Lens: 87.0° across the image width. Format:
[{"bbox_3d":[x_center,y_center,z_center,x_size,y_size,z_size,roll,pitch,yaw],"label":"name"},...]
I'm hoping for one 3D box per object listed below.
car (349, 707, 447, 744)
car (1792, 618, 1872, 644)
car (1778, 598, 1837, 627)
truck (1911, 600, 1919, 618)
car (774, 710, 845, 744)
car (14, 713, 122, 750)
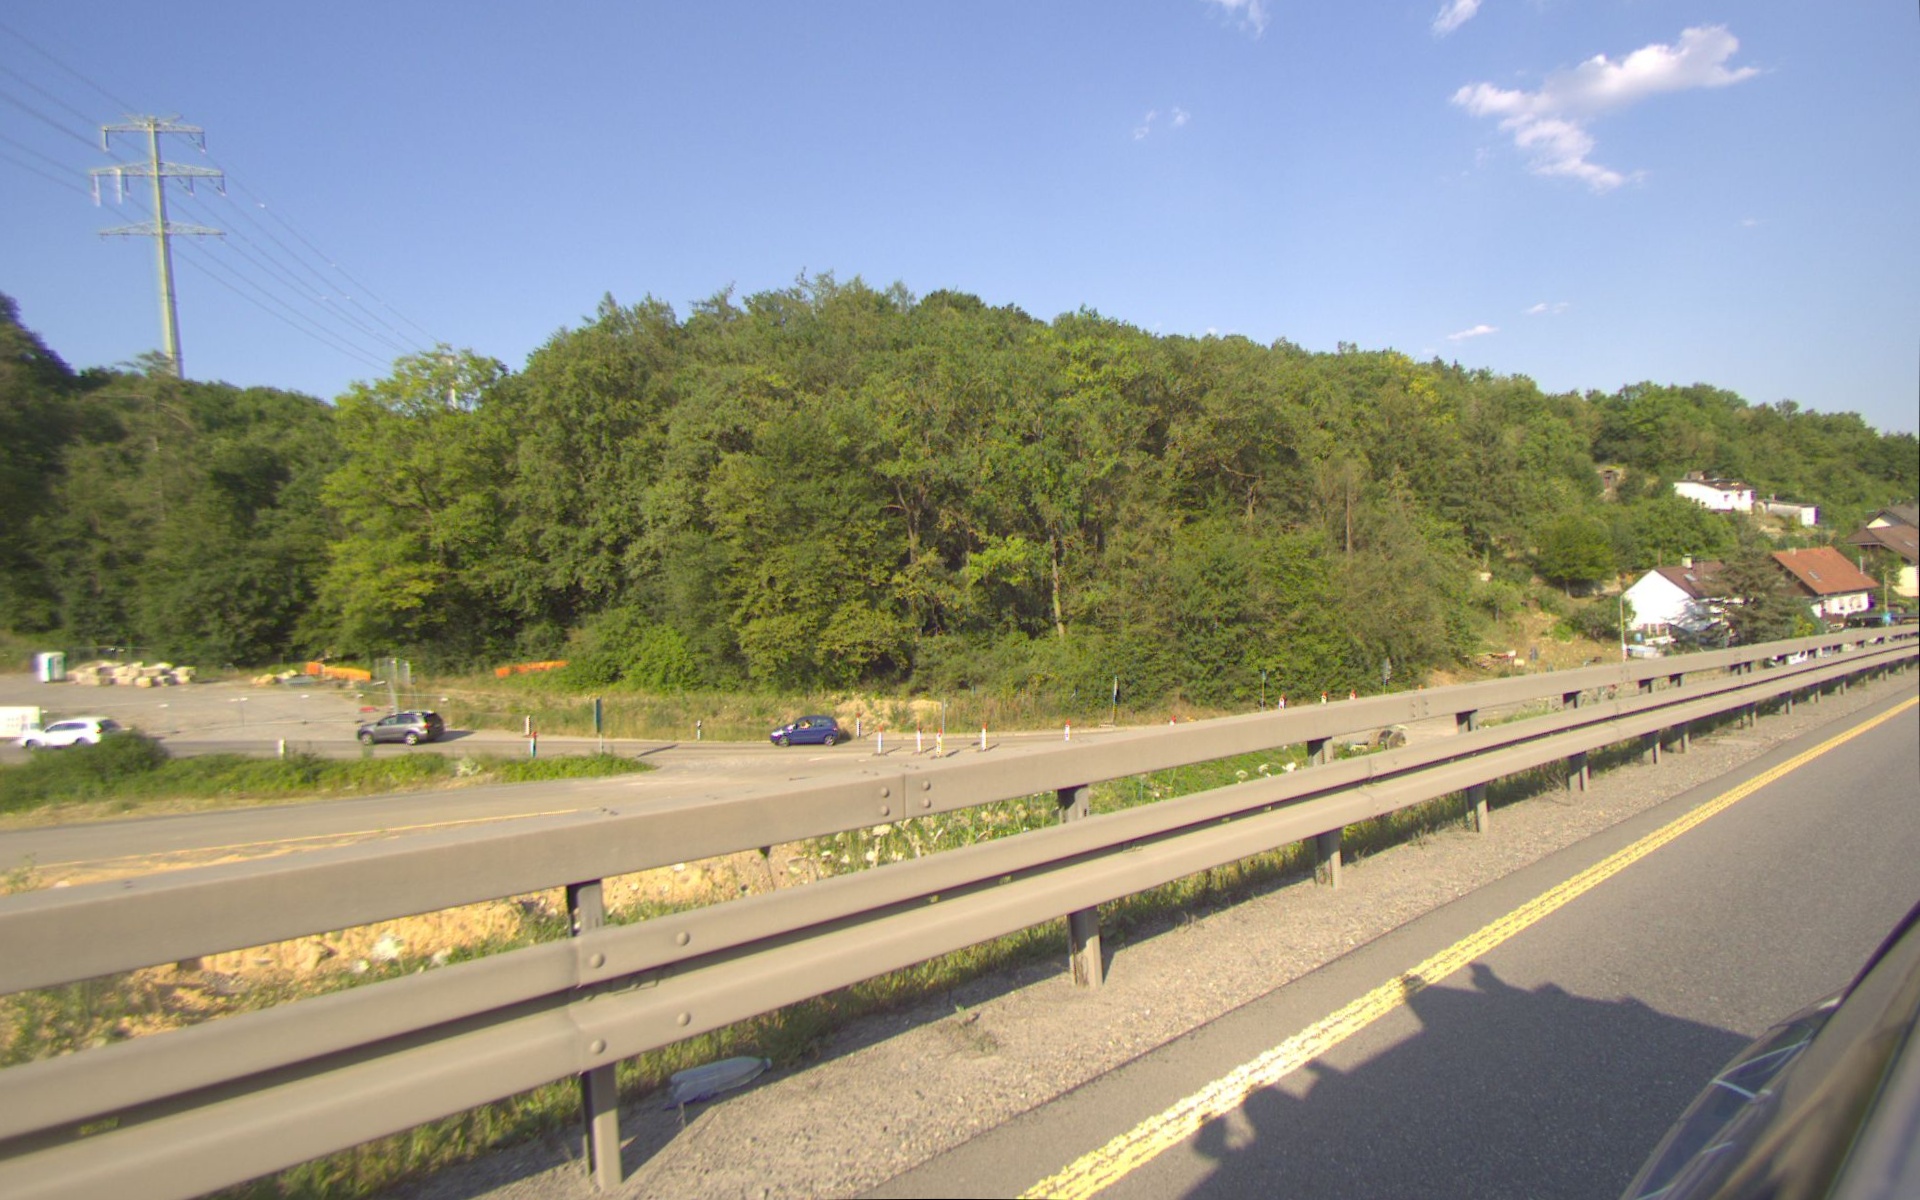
[{"bbox_3d":[-31.140,6.935,56.164,4.413,1.807,1.868,0,1,0],"label":"car"},{"bbox_3d":[84.732,2.993,98.456,1.960,2.292,5.492,-3,1,-27],"label":"car"},{"bbox_3d":[69.896,1.014,83.459,4.950,2.010,1.872,-4,3,-26],"label":"car"},{"bbox_3d":[97.976,0.872,101.398,1.970,1.760,3.983,-7,-2,13],"label":"truck"},{"bbox_3d":[-8.094,6.832,54.478,3.549,1.620,1.772,-1,-4,1],"label":"car"},{"bbox_3d":[-49.585,7.293,56.329,4.381,1.683,1.675,-1,-1,-6],"label":"car"}]
